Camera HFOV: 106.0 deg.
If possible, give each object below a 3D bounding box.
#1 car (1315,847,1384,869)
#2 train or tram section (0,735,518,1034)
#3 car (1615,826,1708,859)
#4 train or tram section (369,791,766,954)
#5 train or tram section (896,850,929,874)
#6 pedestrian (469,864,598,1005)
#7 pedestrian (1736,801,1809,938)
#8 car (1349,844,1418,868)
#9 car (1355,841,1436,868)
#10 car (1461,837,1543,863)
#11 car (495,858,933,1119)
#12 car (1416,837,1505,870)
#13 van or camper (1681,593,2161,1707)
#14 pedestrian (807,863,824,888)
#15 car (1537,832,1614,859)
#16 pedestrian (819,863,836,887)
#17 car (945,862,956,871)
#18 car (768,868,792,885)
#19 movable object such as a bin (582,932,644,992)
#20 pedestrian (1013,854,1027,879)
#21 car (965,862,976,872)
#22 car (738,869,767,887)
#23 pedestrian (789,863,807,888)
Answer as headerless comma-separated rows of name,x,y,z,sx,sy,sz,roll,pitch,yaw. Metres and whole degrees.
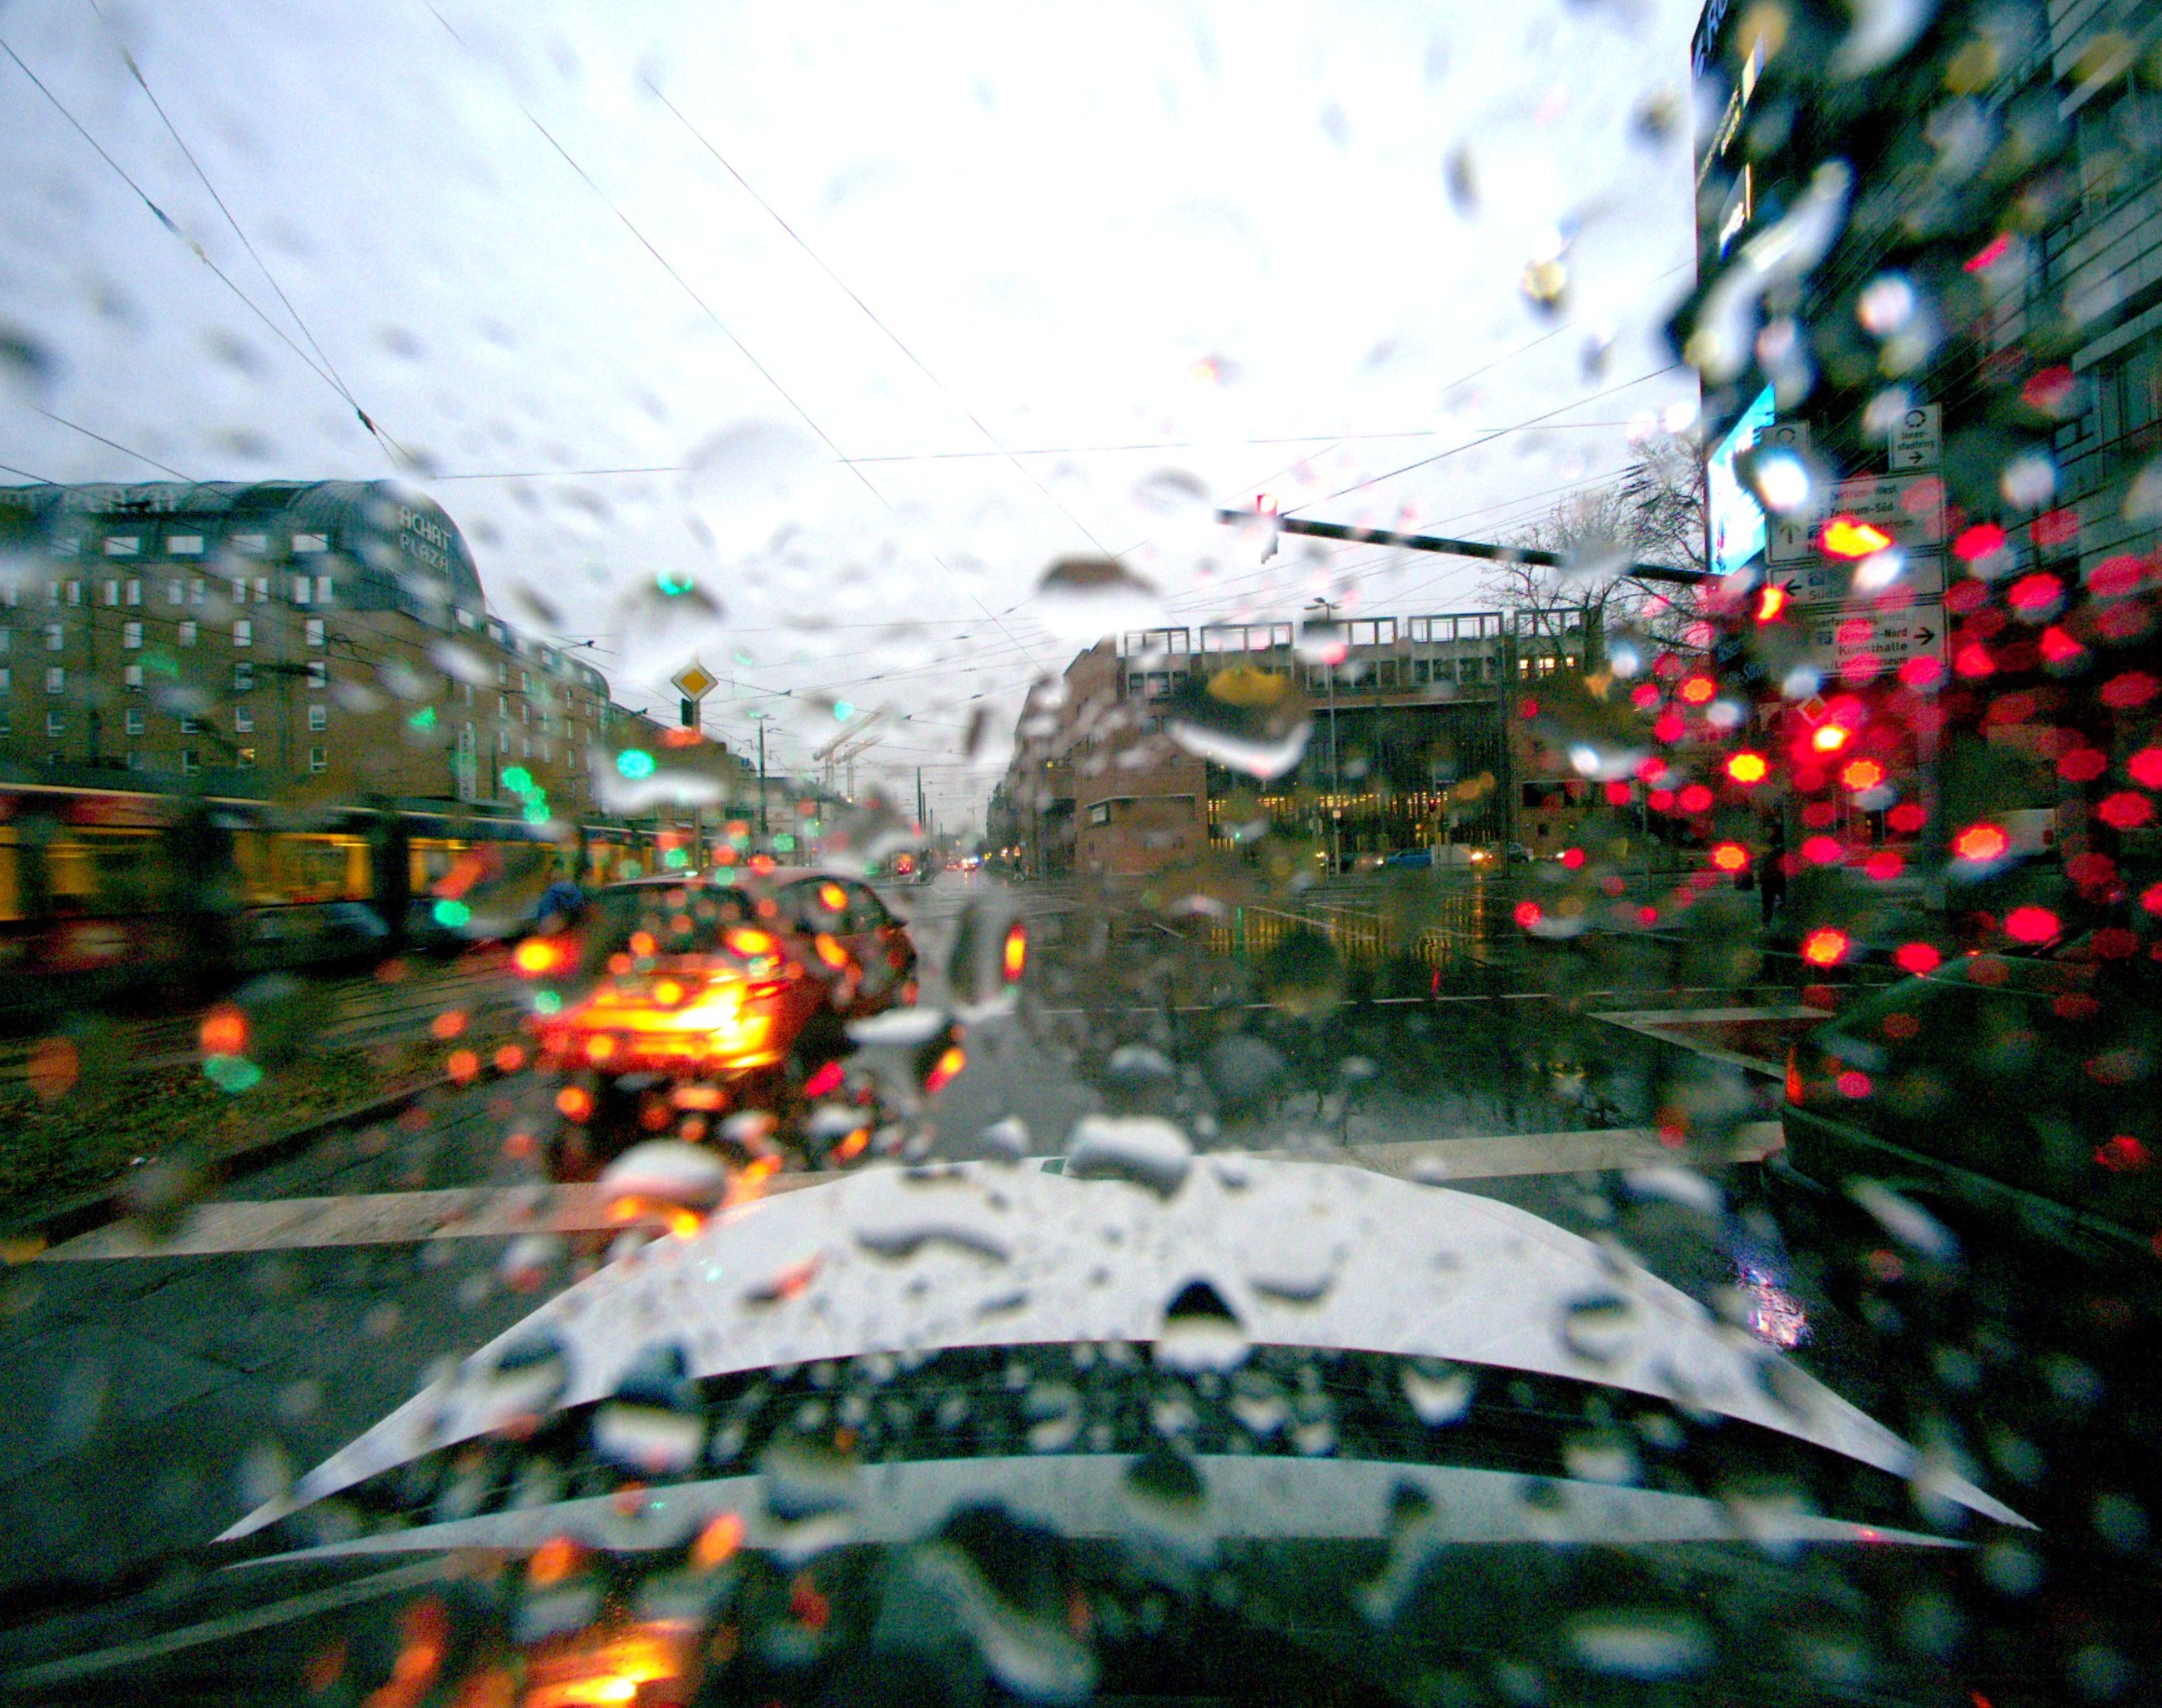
car,18.255,0.289,55.447,3.977,1.310,1.998,-2,0,-2
train or tram section,-14.457,0.412,9.000,2.856,3.614,20.058,-2,0,-1
car,32.254,-0.668,45.331,3.979,1.600,1.845,-2,4,-4
train or tram section,-15.395,0.477,28.151,2.859,3.614,19.181,-2,0,-5
train or tram section,-26.824,1.291,131.279,3.189,3.436,27.753,-2,0,-8
pedestrian,-6.732,0.955,10.043,0.707,1.601,1.043,-4,-1,28
pedestrian,11.327,0.245,13.356,0.574,2.184,0.619,-1,-1,-4
car,19.153,0.117,51.597,3.713,1.263,1.845,-2,4,-4
car,18.320,0.012,47.528,3.979,1.263,1.845,-2,4,-4
car,24.827,-0.263,48.080,3.979,1.288,1.845,-2,4,-4
car,-2.490,0.797,6.634,1.691,1.459,3.759,-2,0,2
car,20.440,-0.062,43.895,3.979,1.504,1.845,-2,4,-4
van or camper,2.677,0.502,0.303,1.750,1.906,4.420,-1,0,2
pedestrian,-21.719,1.724,66.513,0.973,2.014,0.838,-1,-1,16
car,32.167,-0.593,53.075,3.979,1.504,1.845,-2,4,-4
pedestrian,-21.075,1.735,67.768,0.973,2.014,0.838,-1,-1,16
car,-23.532,2.200,147.163,1.869,1.579,3.989,0,0,-8
car,-31.945,2.365,86.476,1.787,1.624,3.850,-1,0,-11
movable object such as a bin,-6.109,1.404,10.637,0.407,0.699,0.541,-4,-2,28
pedestrian,-4.960,1.002,66.166,1.069,2.013,0.682,-2,0,-12
car,-19.087,2.207,140.938,1.868,1.579,3.991,0,0,-6
car,-31.028,2.253,76.960,1.787,1.624,3.850,-1,0,-11
pedestrian,-22.589,1.717,65.064,0.973,2.014,0.838,-1,-1,16
